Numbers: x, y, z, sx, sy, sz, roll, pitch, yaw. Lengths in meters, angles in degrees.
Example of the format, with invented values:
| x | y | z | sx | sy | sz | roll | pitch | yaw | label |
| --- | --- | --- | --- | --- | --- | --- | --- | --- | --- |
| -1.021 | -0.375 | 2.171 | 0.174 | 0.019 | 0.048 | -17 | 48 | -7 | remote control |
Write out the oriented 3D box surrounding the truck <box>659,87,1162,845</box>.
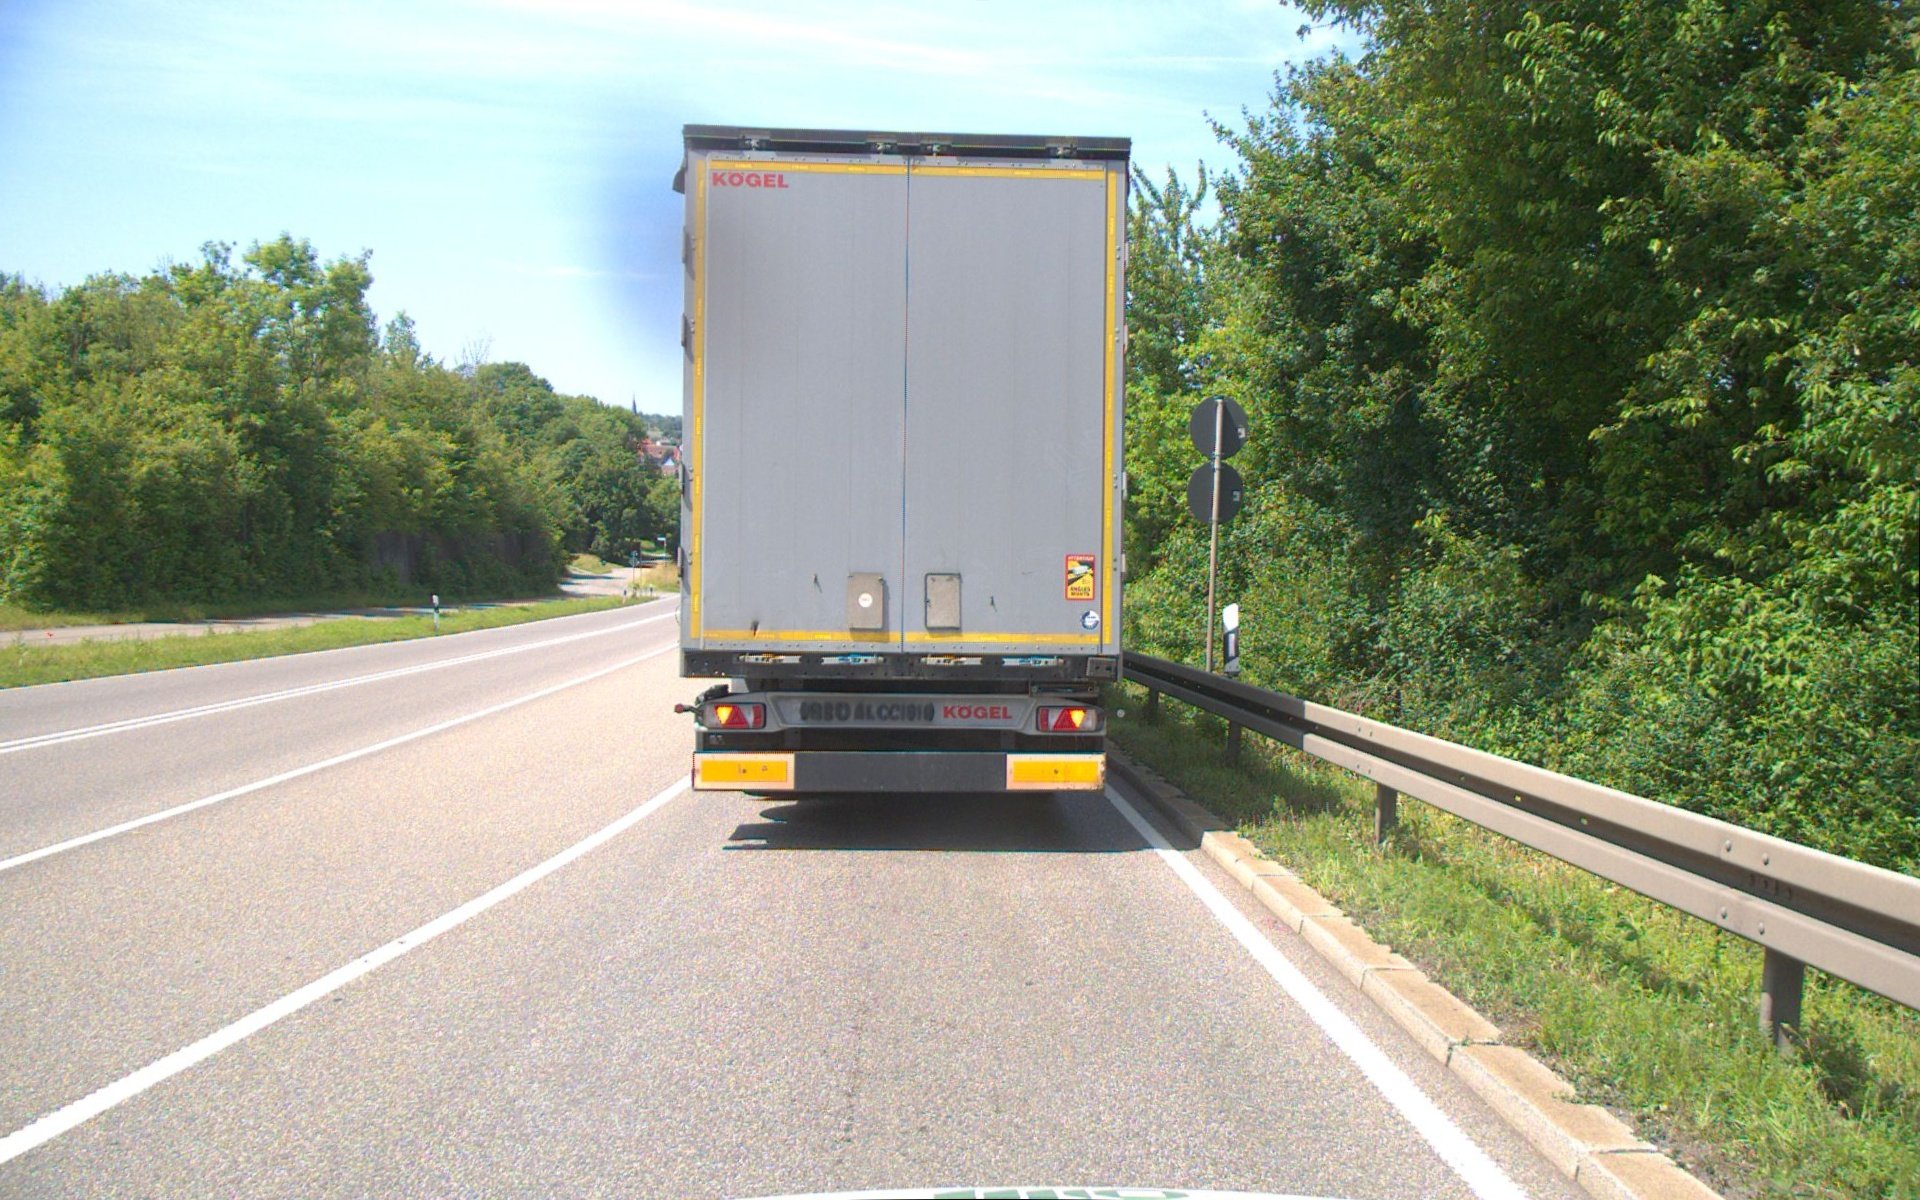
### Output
| x | y | z | sx | sy | sz | roll | pitch | yaw | label |
| --- | --- | --- | --- | --- | --- | --- | --- | --- | --- |
| -0.432 | -0.778 | 14.986 | 2.701 | 4.100 | 11.920 | 1 | 1 | -2 | truck |
